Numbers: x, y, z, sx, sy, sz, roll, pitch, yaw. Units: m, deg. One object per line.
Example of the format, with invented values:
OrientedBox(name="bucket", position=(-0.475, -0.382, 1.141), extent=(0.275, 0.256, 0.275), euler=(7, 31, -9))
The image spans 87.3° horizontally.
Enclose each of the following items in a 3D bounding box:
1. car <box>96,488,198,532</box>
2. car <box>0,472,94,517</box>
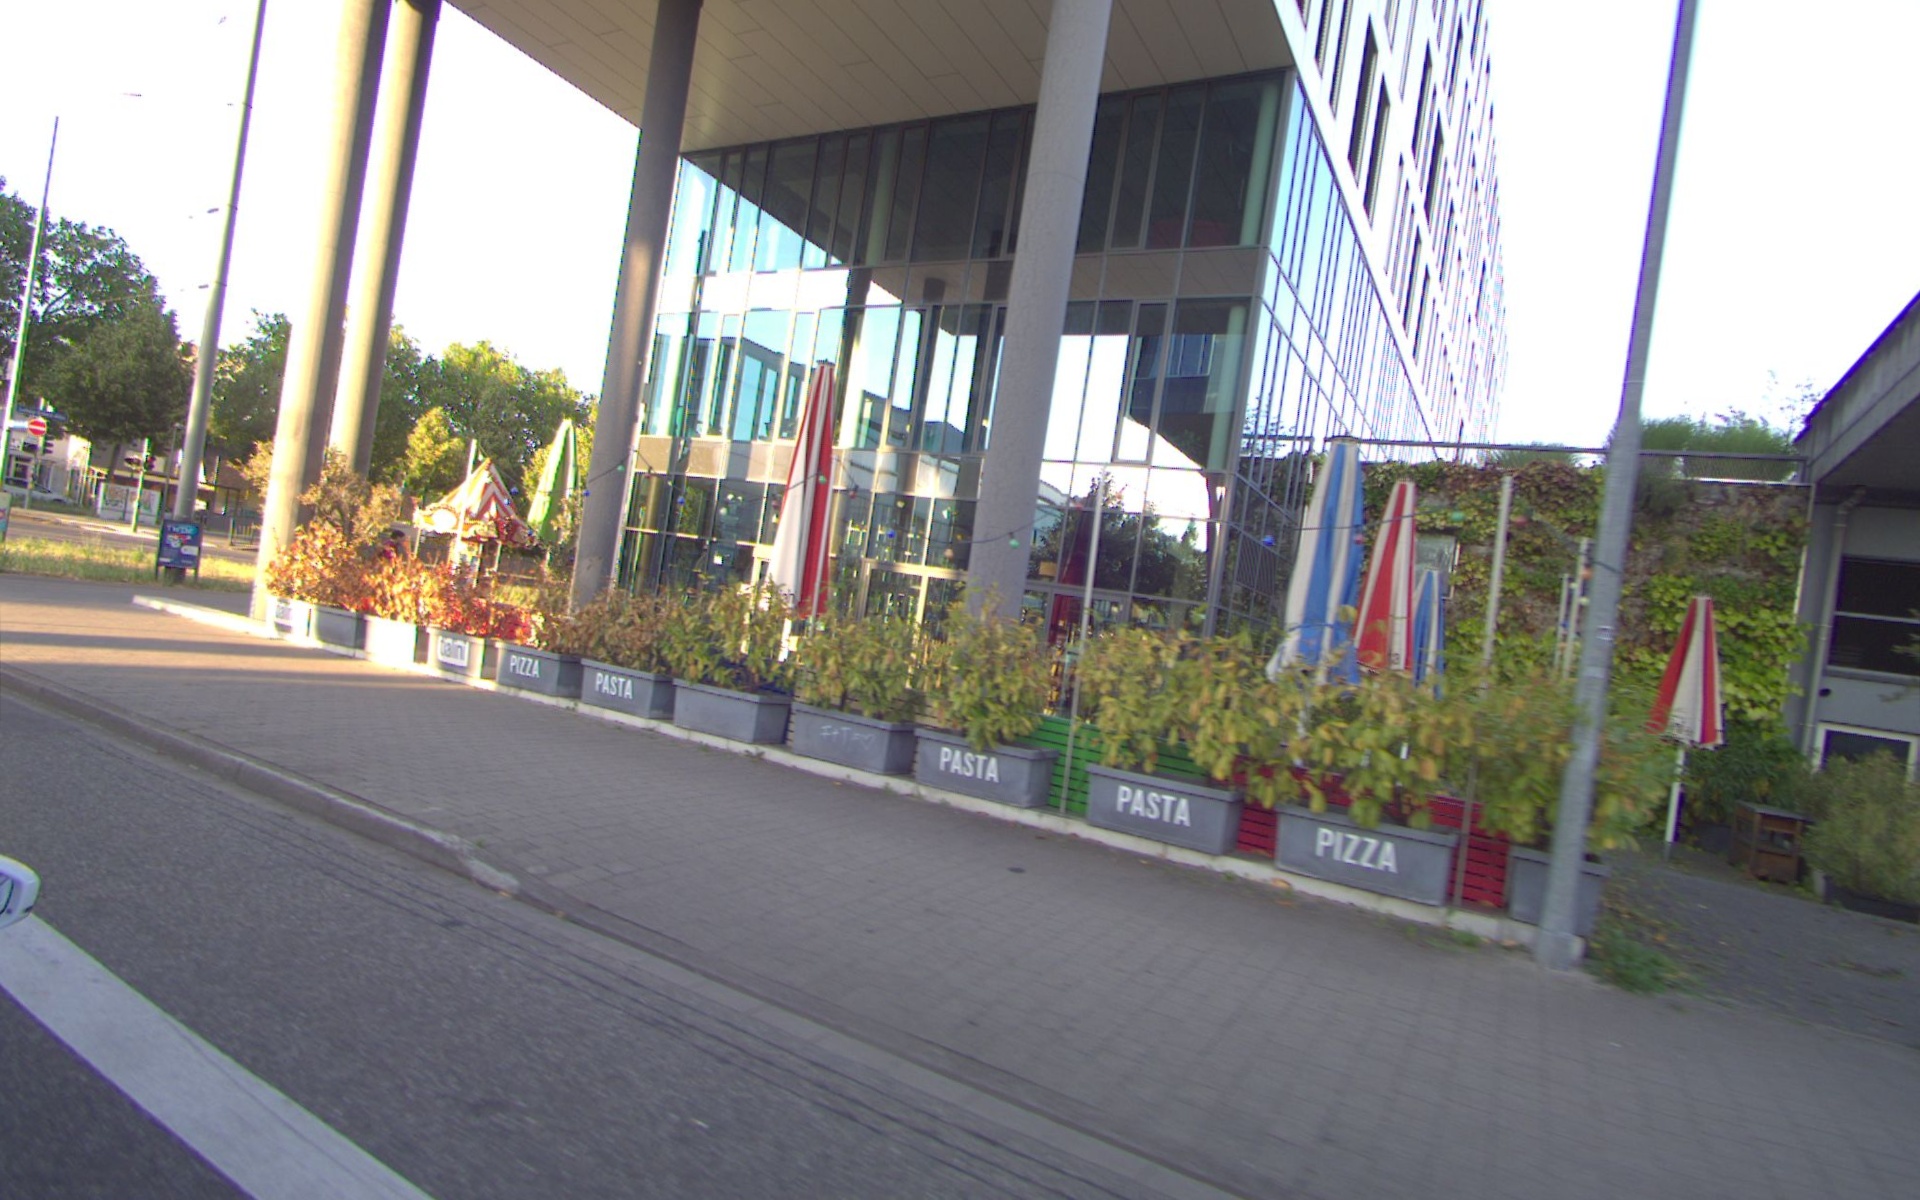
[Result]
OrientedBox(name="car", position=(-51.261, -5.669, 63.528), extent=(1.913, 1.838, 4.474), euler=(10, 0, 33))
OrientedBox(name="car", position=(-54.357, -6.257, 59.328), extent=(1.913, 1.838, 4.474), euler=(10, 0, 33))
